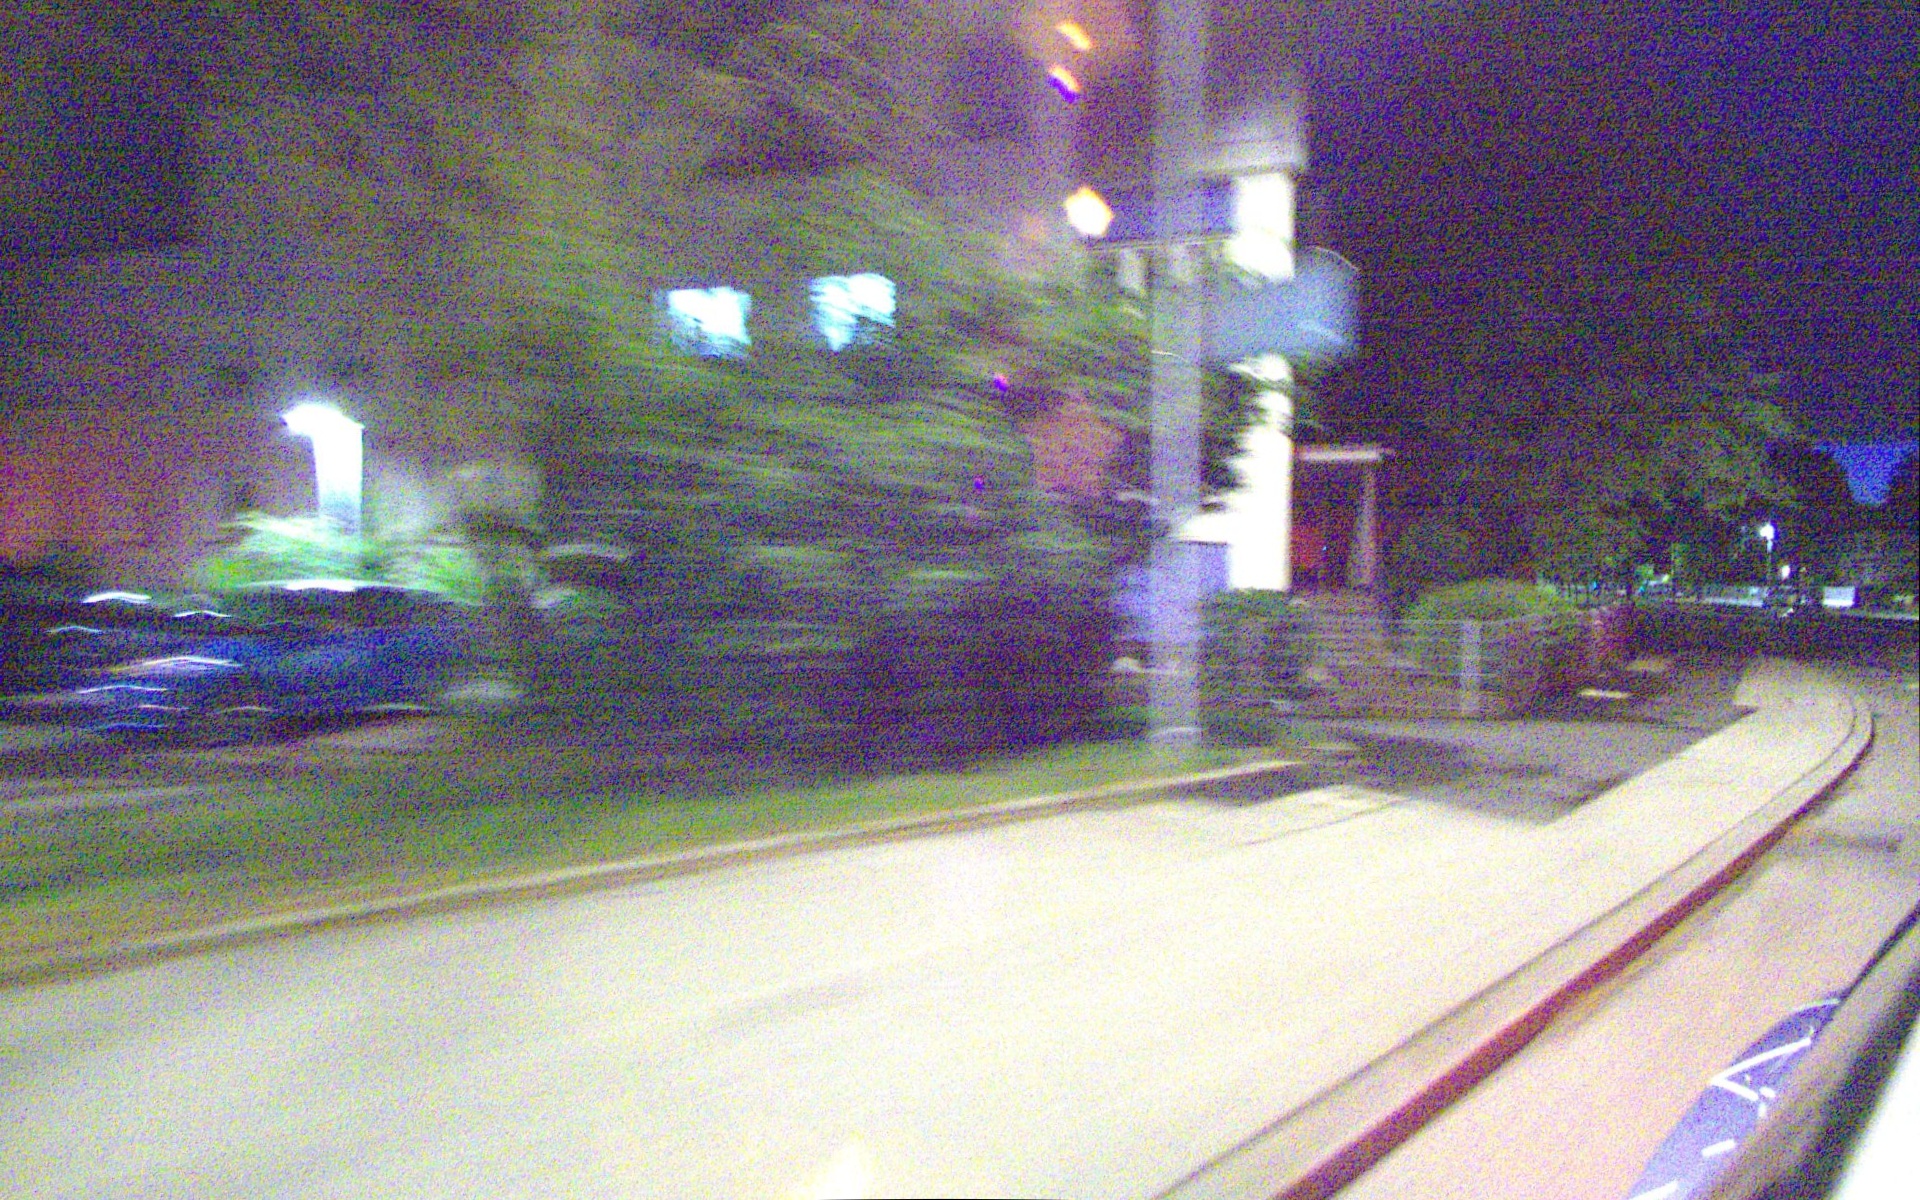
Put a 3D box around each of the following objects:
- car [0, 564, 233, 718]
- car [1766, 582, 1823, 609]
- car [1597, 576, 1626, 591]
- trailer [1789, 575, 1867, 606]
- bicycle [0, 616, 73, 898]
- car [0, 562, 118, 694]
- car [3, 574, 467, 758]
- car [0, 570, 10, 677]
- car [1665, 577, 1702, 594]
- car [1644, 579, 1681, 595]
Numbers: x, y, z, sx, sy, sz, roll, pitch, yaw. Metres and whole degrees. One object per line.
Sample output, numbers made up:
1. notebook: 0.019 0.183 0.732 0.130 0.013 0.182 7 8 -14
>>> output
1. car: -10.701 0.408 10.911 1.899 1.584 4.384 1 1 20
2. car: 58.911 -0.360 71.526 1.702 1.595 4.504 4 4 21
3. car: 76.575 -1.994 118.968 1.749 1.586 4.663 5 4 20
4. trailer: 57.078 -0.682 66.683 2.007 1.802 5.635 3 3 21
5. bicycle: -4.092 0.613 3.178 0.295 0.994 1.915 2 4 44
6. car: -12.986 0.343 12.172 1.790 1.636 4.073 1 1 19
7. car: -7.119 0.522 10.378 1.687 1.524 3.569 1 1 20
8. car: -15.279 0.338 13.220 1.740 1.534 3.846 1 1 19
9. car: 67.767 -1.362 94.812 1.713 1.381 4.120 4 4 20
10. car: 69.925 -1.322 100.771 1.885 1.381 4.948 4 4 22
